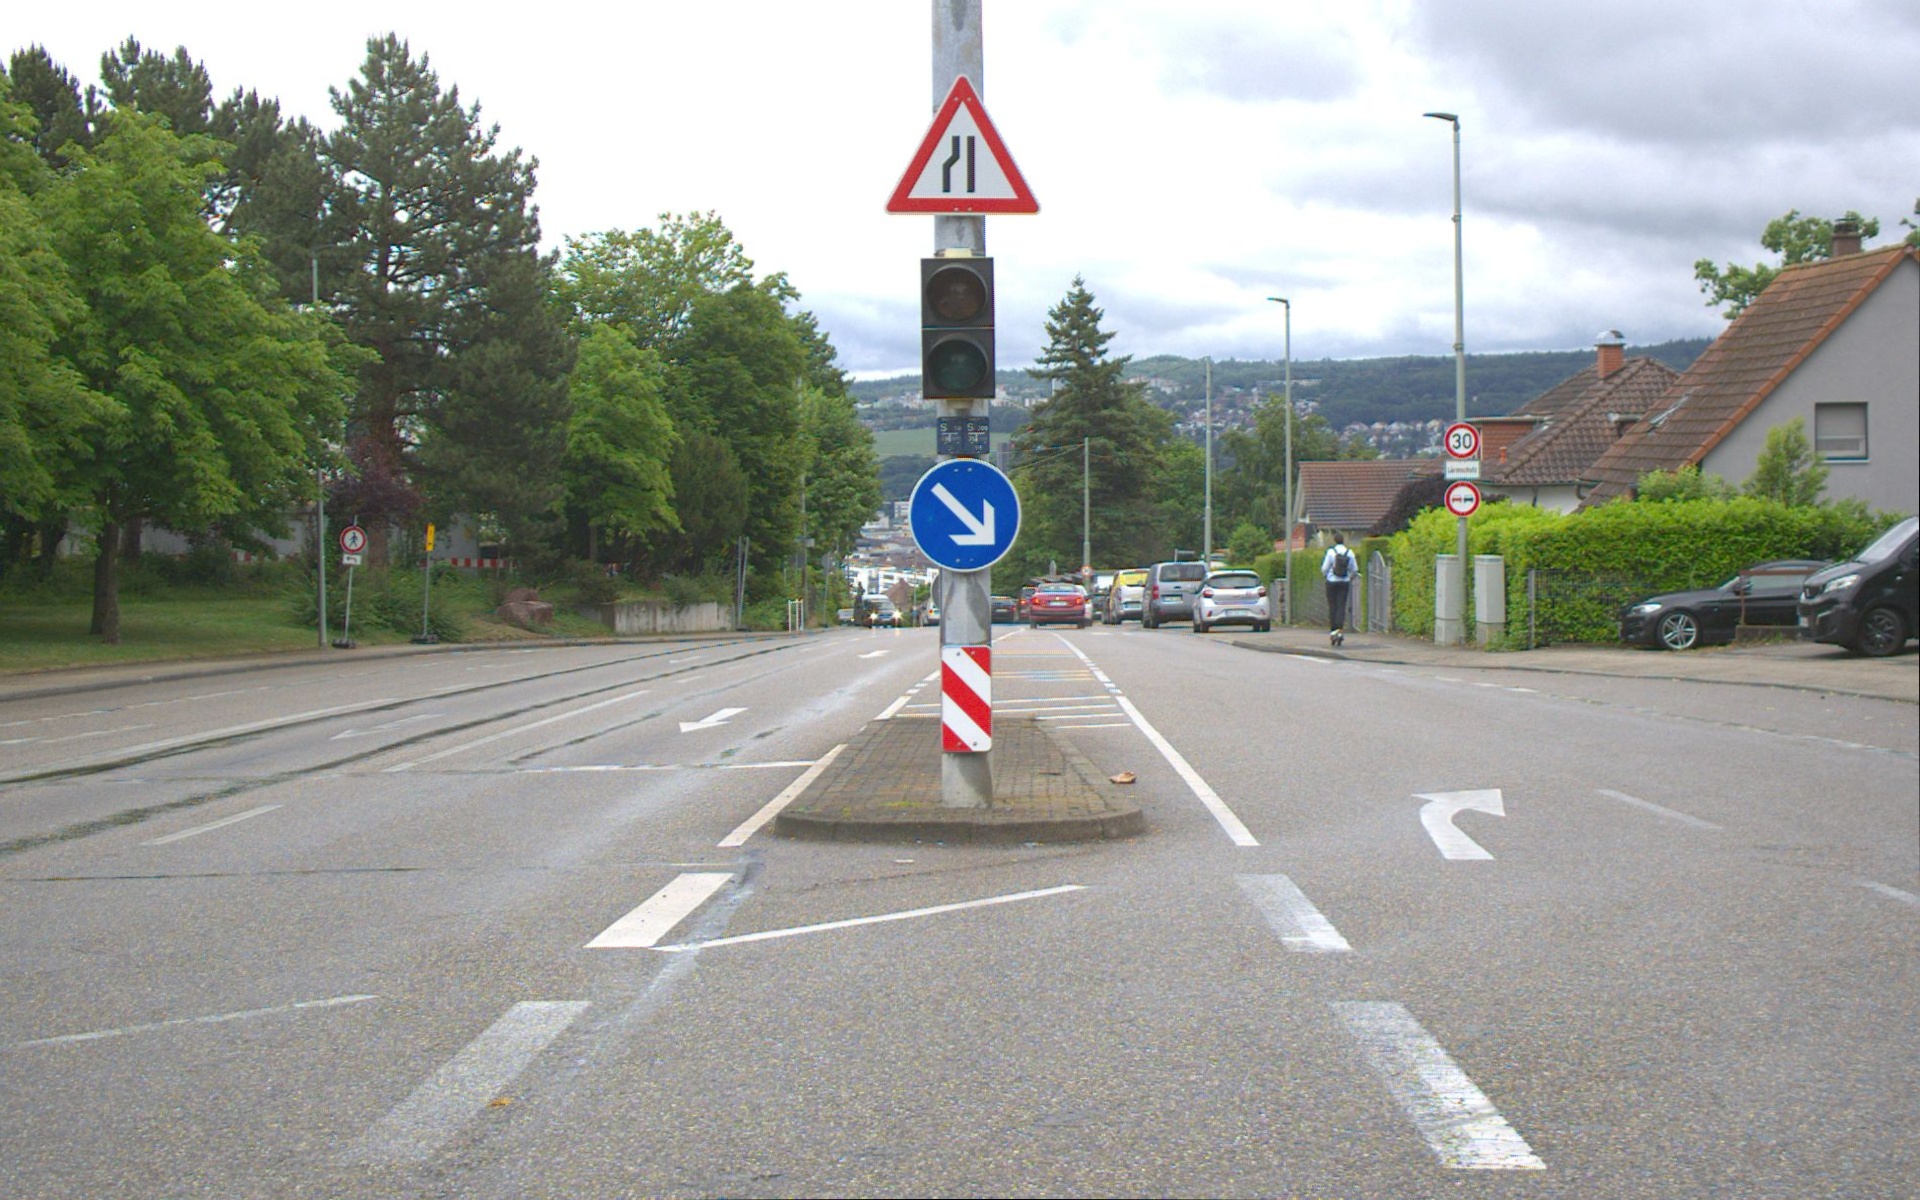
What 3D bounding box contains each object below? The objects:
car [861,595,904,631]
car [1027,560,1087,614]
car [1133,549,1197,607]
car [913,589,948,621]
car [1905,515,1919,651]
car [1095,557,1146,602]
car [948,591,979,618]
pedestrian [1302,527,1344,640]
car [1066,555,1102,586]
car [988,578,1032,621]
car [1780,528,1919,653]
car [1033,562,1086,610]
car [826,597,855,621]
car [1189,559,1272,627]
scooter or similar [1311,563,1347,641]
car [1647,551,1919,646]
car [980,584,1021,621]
[{"bbox_3d":[-3.908,0.633,174.233,1.845,1.711,4.000,0,1,3],"label":"car"},{"bbox_3d":[2.995,-0.424,105.814,1.755,1.569,4.000,-1,1,3],"label":"car"},{"bbox_3d":[6.098,-0.670,102.570,1.851,1.568,4.000,0,3,3],"label":"car"},{"bbox_3d":[-1.714,0.285,201.167,1.887,1.787,4.000,-1,1,2],"label":"car"},{"bbox_3d":[14.078,-0.243,43.720,3.627,1.740,1.708,-1,1,-1],"label":"car"},{"bbox_3d":[5.935,-0.779,127.241,1.851,1.569,4.000,-1,1,3],"label":"car"},{"bbox_3d":[0.249,0.309,225.455,1.993,1.645,4.000,-1,1,0],"label":"car"},{"bbox_3d":[6.479,-0.296,61.353,0.655,1.995,0.718,0,1,-1],"label":"pedestrian"},{"bbox_3d":[6.667,-1.594,184.307,1.851,1.569,4.000,-1,1,3],"label":"car"},{"bbox_3d":[2.184,-0.041,149.913,1.797,1.777,4.000,0,1,2],"label":"car"},{"bbox_3d":[13.065,-0.159,46.164,3.627,1.620,1.791,-1,1,-1],"label":"car"},{"bbox_3d":[3.452,-0.510,119.184,1.738,1.569,4.000,-1,1,3],"label":"car"},{"bbox_3d":[-8.754,0.637,252.066,1.993,1.645,4.000,-1,1,0],"label":"car"},{"bbox_3d":[6.563,-0.182,83.734,1.851,1.569,4.000,1,1,3],"label":"car"},{"bbox_3d":[6.586,0.029,61.338,0.461,1.356,1.385,0,1,-1],"label":"scooter or similar"},{"bbox_3d":[12.195,-0.009,51.074,3.687,1.365,1.519,0,-1,1],"label":"car"},{"bbox_3d":[2.038,0.115,171.169,1.887,1.787,4.000,-1,1,3],"label":"car"}]
